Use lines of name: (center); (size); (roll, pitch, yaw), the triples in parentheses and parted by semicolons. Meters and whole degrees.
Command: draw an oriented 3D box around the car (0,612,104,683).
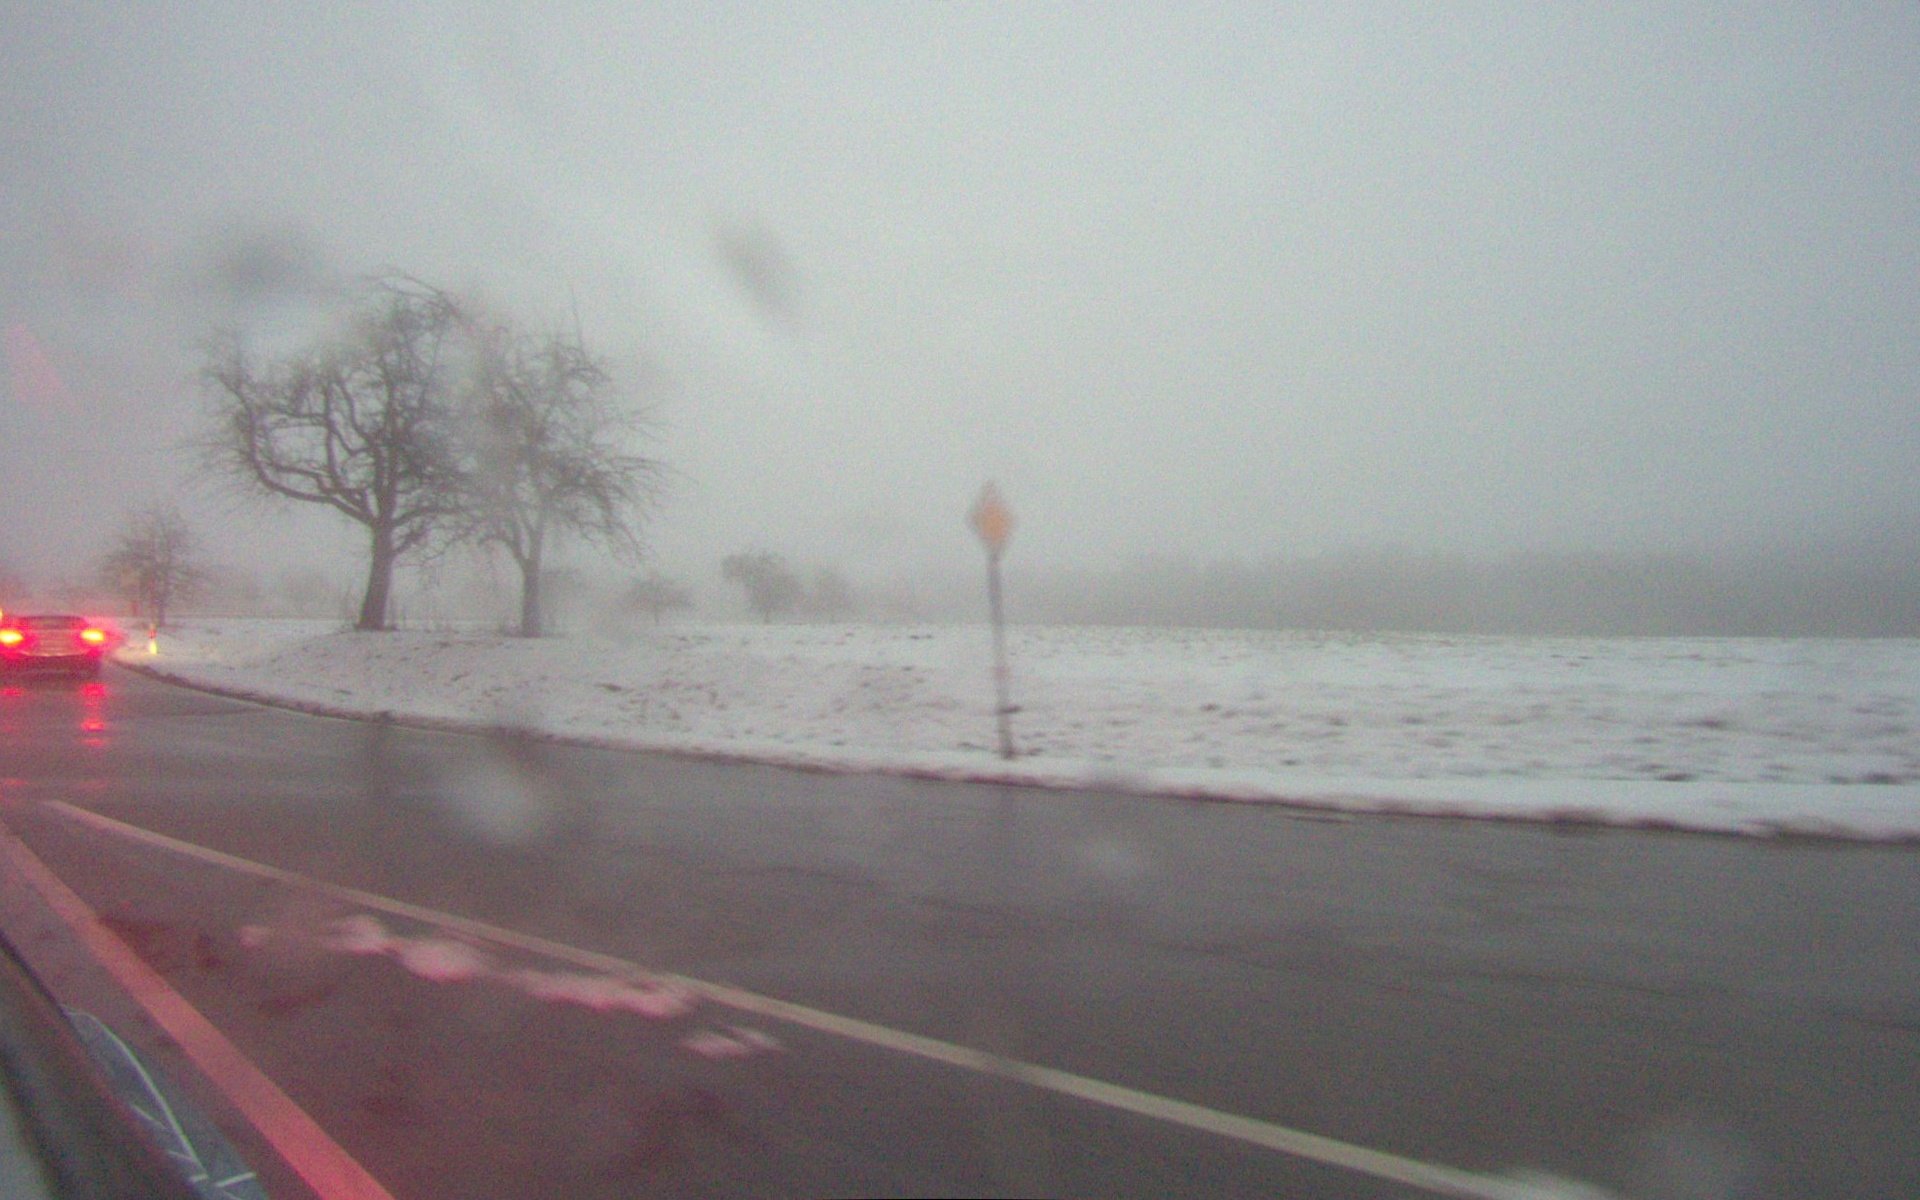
car: (-21.194, 1.066, 23.221); (4.001, 1.498, 1.724); (-2, -3, 40)
